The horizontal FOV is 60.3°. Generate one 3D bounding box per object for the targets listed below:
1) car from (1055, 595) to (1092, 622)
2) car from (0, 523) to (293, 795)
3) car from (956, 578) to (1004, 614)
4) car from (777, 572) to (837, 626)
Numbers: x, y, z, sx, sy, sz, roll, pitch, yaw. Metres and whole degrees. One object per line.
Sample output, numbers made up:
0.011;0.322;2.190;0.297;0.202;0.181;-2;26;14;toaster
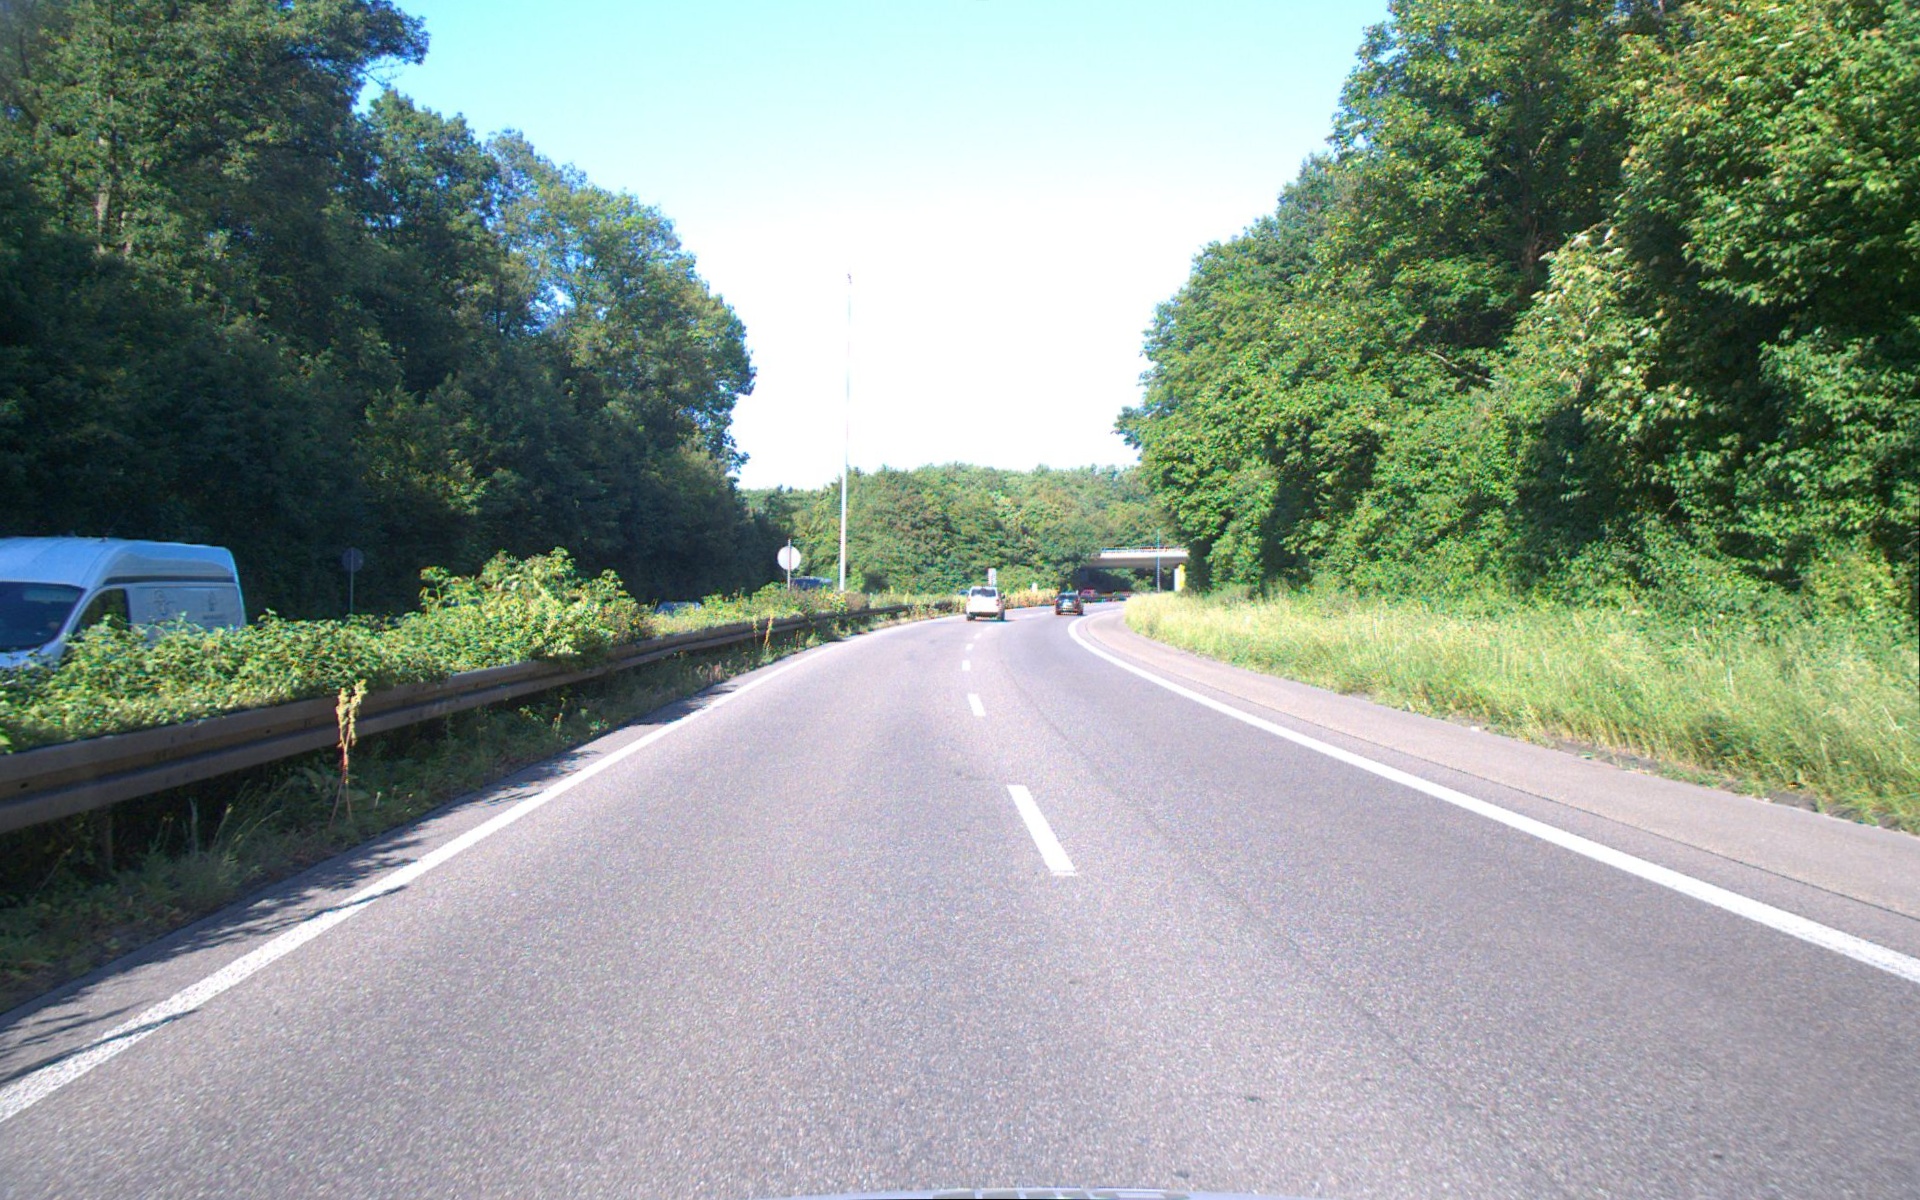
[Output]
7.873;0.595;114.221;1.910;1.813;4.591;1;0;12;car
-8.876;0.489;16.821;1.875;2.292;5.783;1;0;-1;car
1.045;-0.199;87.262;1.914;1.813;4.580;1;0;-7;car
-7.785;-0.081;84.691;2.031;2.619;5.788;1;1;5;car
